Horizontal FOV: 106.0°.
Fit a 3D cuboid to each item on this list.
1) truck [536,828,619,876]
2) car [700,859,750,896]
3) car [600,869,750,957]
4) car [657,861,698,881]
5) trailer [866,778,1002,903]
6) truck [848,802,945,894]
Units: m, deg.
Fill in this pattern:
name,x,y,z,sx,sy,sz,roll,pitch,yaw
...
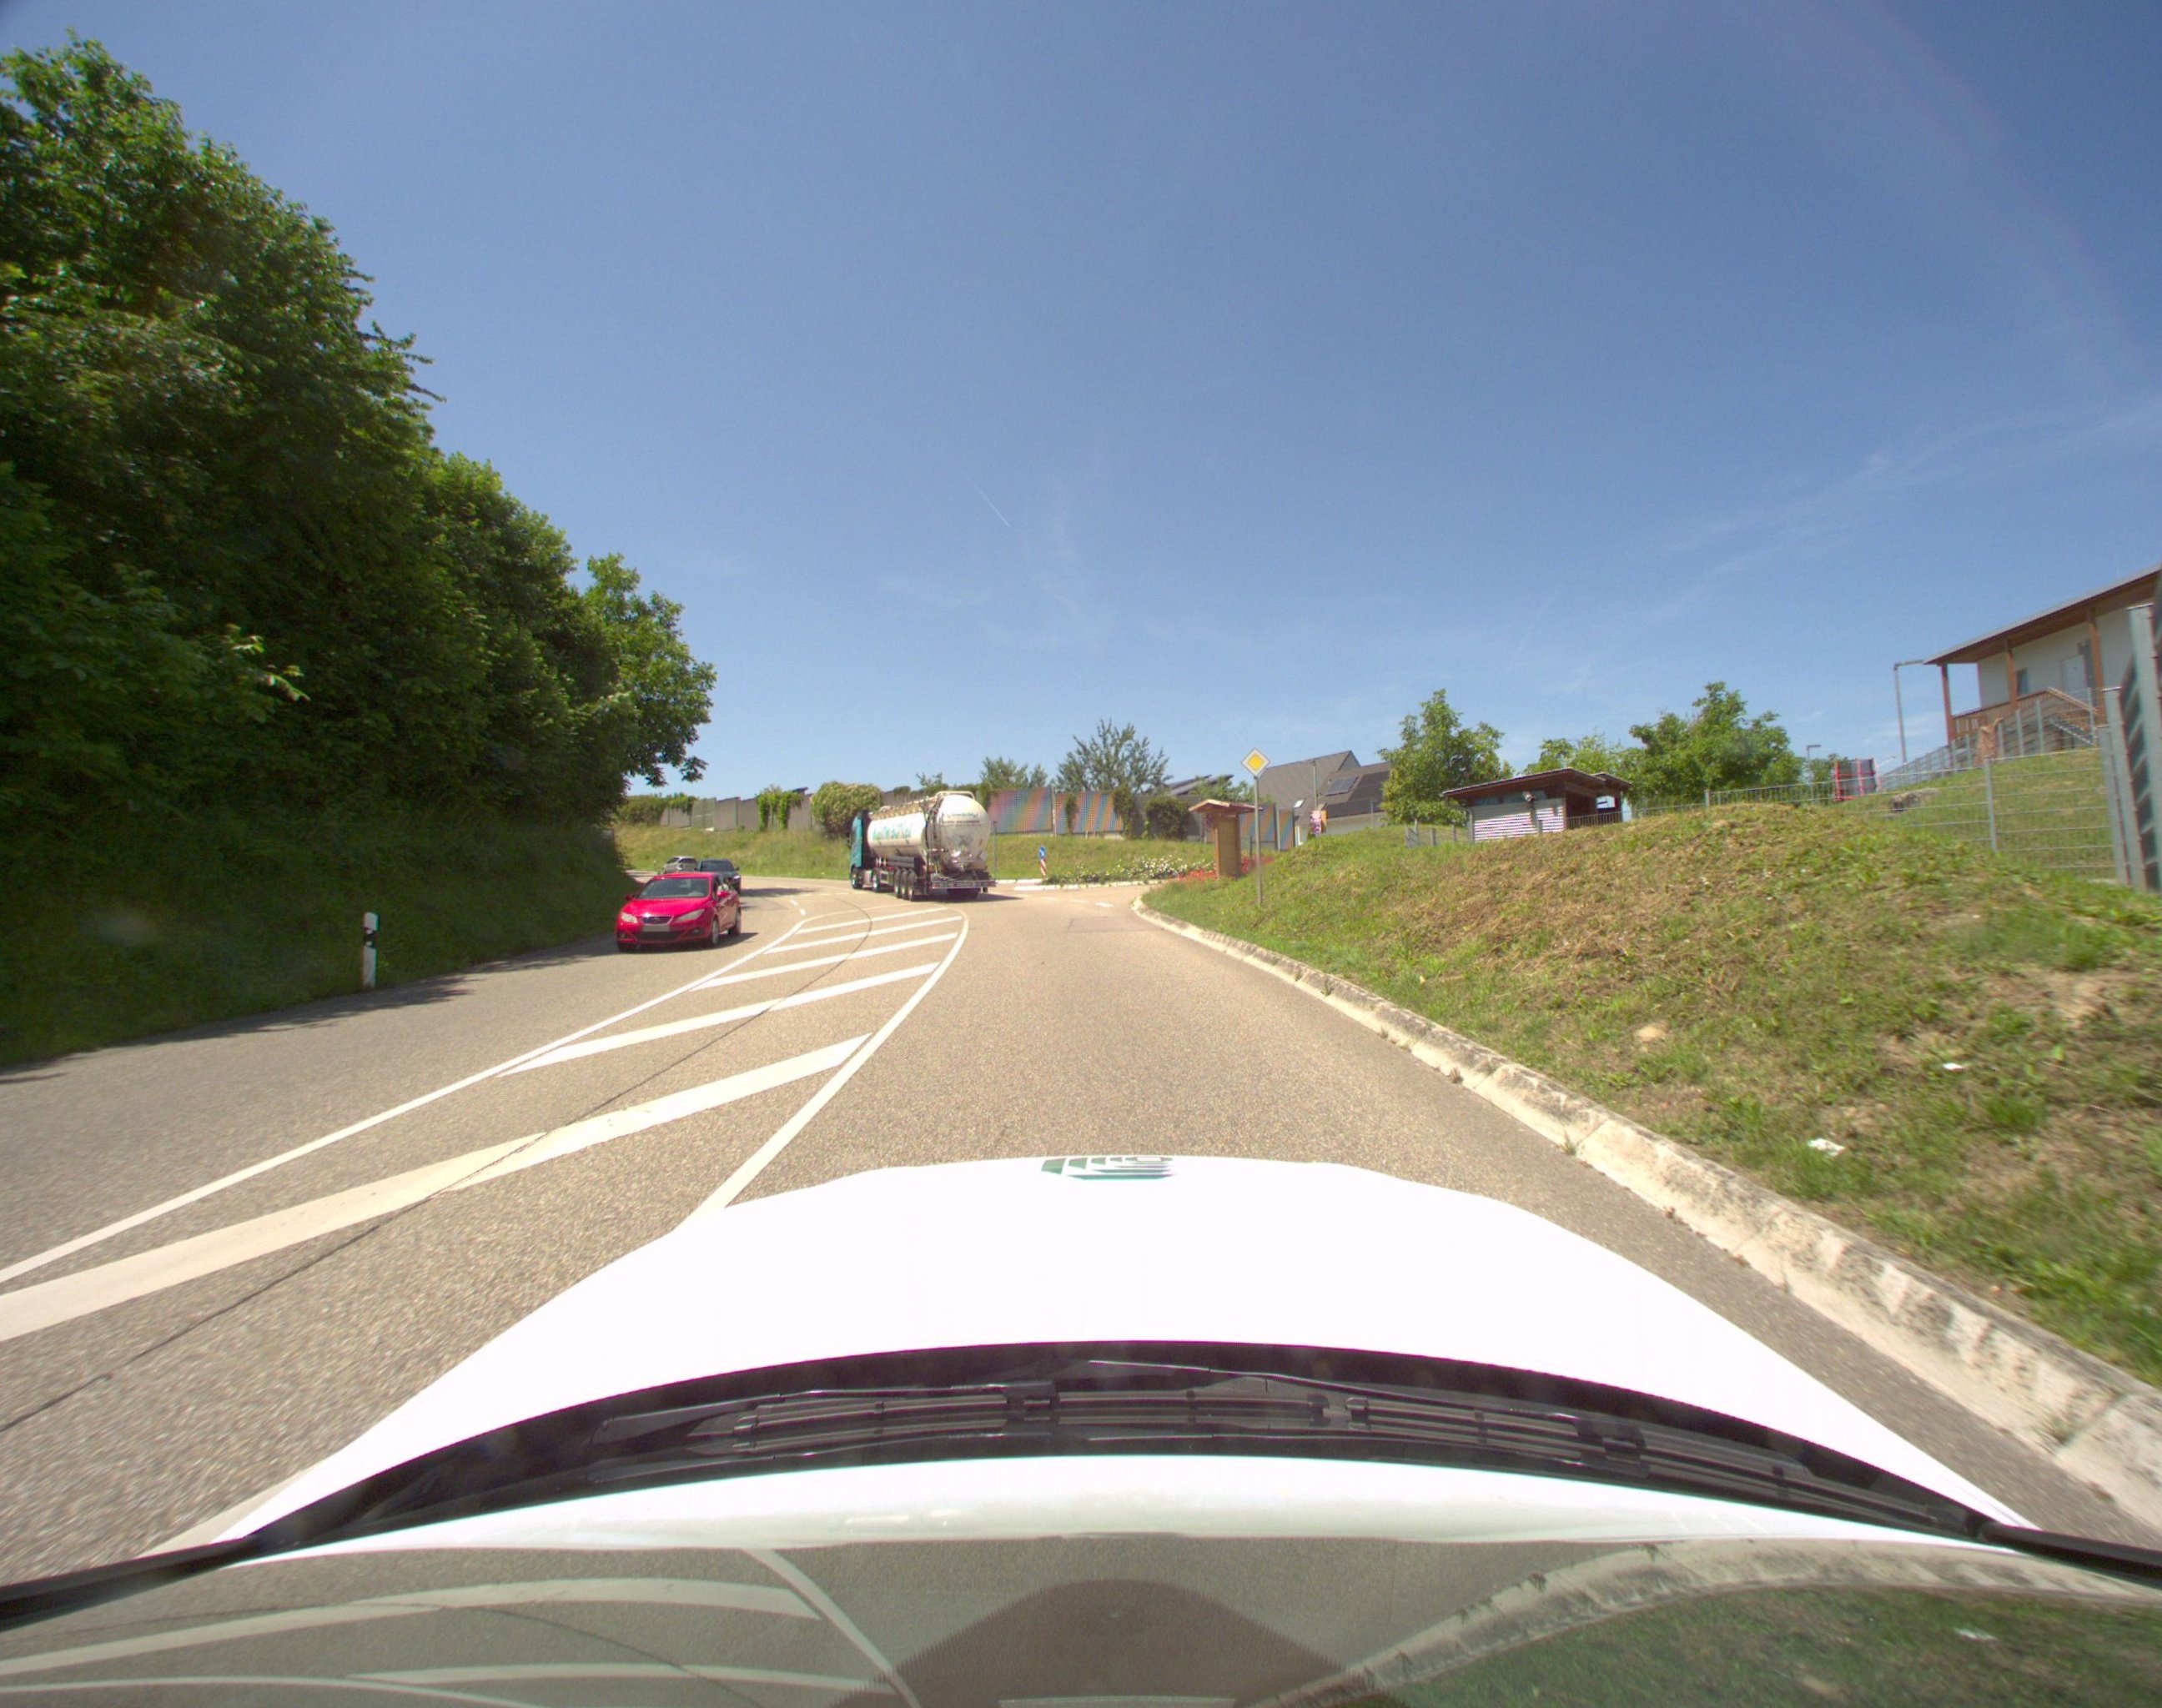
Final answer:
name,x,y,z,sx,sy,sz,roll,pitch,yaw
truck,-49.690,-0.259,80.168,11.650,4.310,3.220,2,-2,40
car,-16.981,1.061,38.703,1.802,1.605,4.141,-1,1,-29
car,-8.022,1.072,16.487,1.751,1.448,3.983,-2,0,-12
car,-33.006,1.387,66.635,3.592,1.510,1.663,0,-3,41
trailer,-6.417,-0.465,33.267,2.673,4.188,11.809,-2,0,-24
truck,-8.915,-0.222,38.697,2.742,3.929,7.199,-1,0,-27
